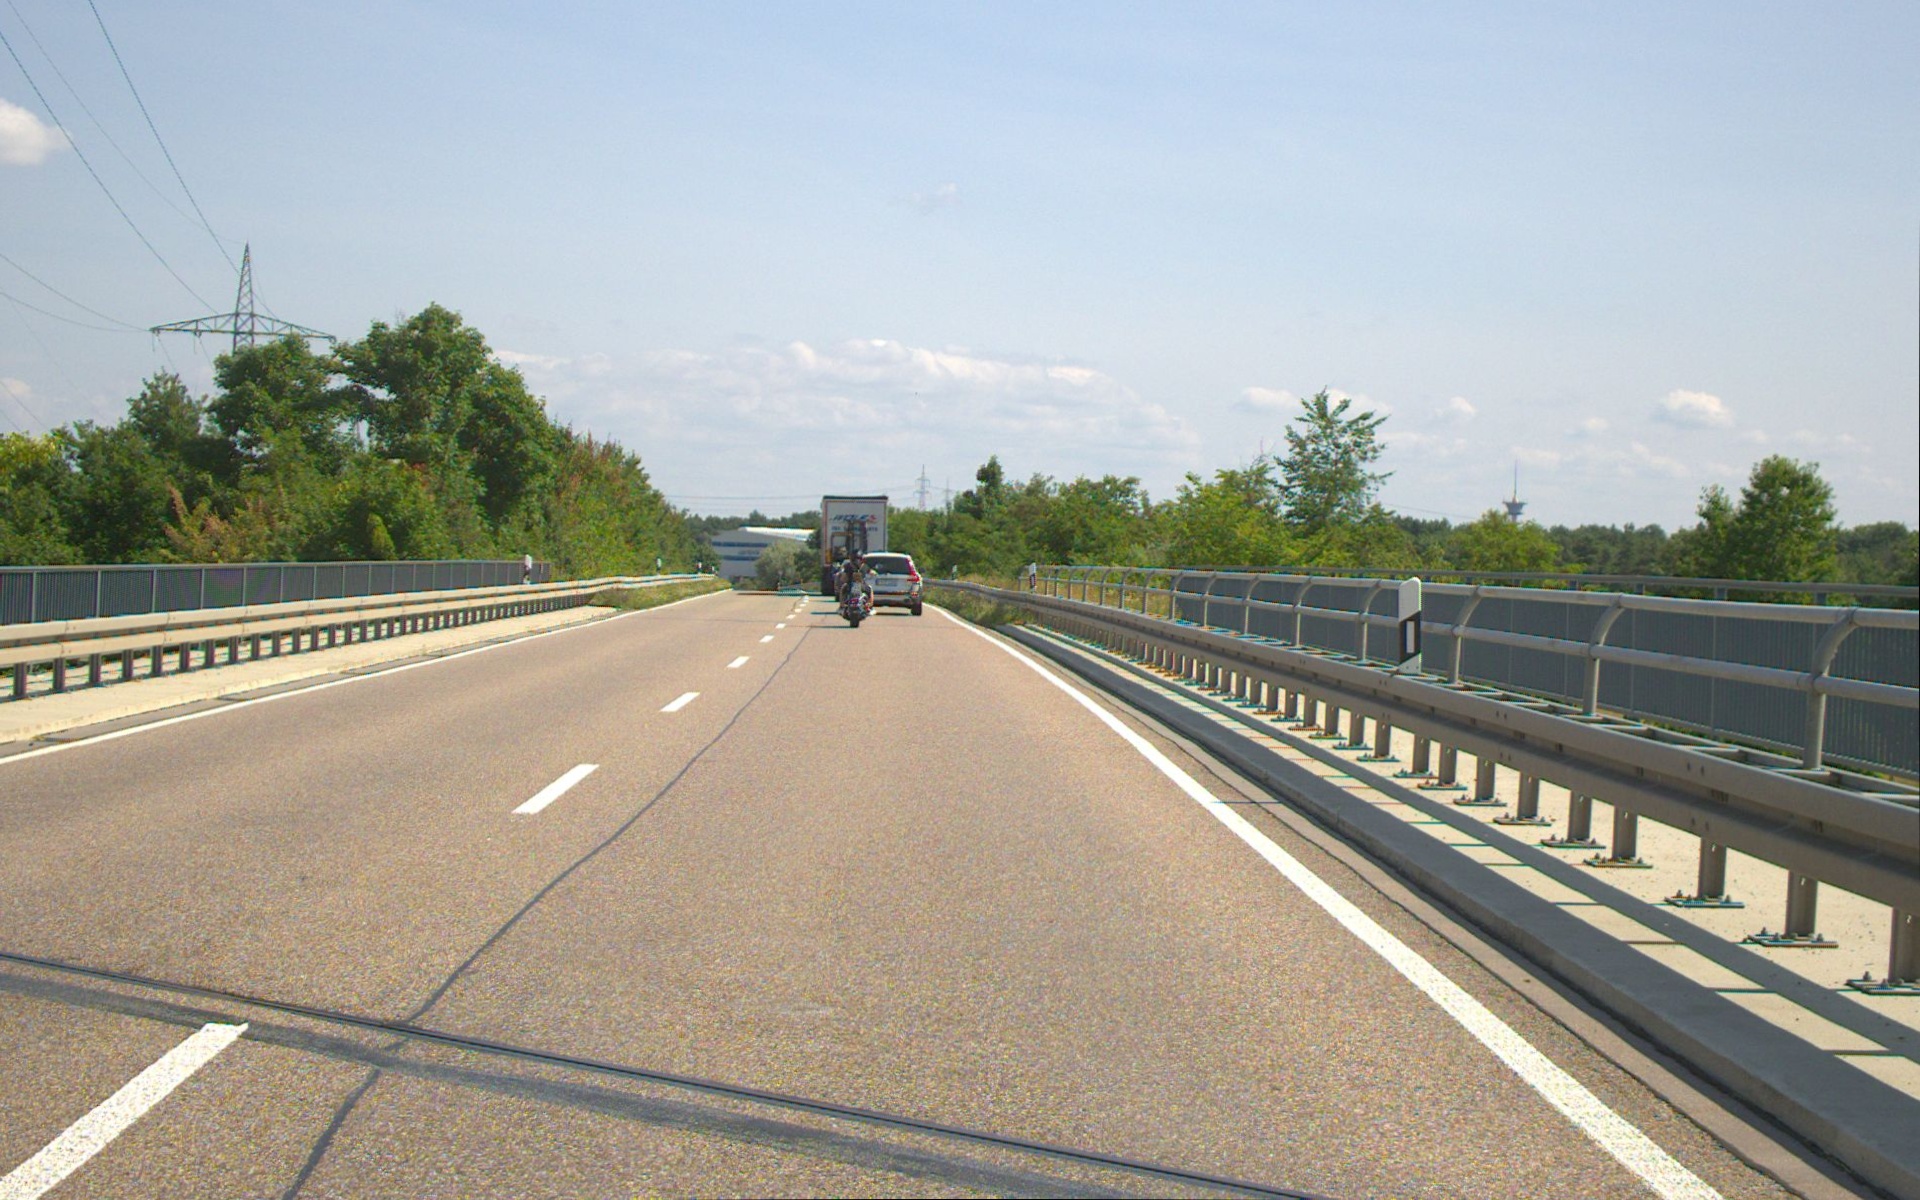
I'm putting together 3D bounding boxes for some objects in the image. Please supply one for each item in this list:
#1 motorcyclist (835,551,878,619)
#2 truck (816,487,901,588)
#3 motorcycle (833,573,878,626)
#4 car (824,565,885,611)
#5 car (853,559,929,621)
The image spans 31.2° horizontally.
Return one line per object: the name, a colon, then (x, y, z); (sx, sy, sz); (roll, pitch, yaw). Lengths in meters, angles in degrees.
motorcyclist: (-2.043, -0.304, 68.039); (0.780, 1.321, 0.813); (1, 1, 1)
truck: (-4.159, -2.560, 142.500); (3.241, 3.965, 9.444); (1, 1, -1)
motorcycle: (-2.060, -0.014, 68.024); (0.780, 0.972, 2.361); (1, 1, 0)
car: (-3.511, -0.409, 115.125); (1.866, 1.415, 4.000); (2, 1, 0)
car: (-1.710, -0.266, 86.681); (1.825, 1.446, 4.000); (1, 1, 0)
